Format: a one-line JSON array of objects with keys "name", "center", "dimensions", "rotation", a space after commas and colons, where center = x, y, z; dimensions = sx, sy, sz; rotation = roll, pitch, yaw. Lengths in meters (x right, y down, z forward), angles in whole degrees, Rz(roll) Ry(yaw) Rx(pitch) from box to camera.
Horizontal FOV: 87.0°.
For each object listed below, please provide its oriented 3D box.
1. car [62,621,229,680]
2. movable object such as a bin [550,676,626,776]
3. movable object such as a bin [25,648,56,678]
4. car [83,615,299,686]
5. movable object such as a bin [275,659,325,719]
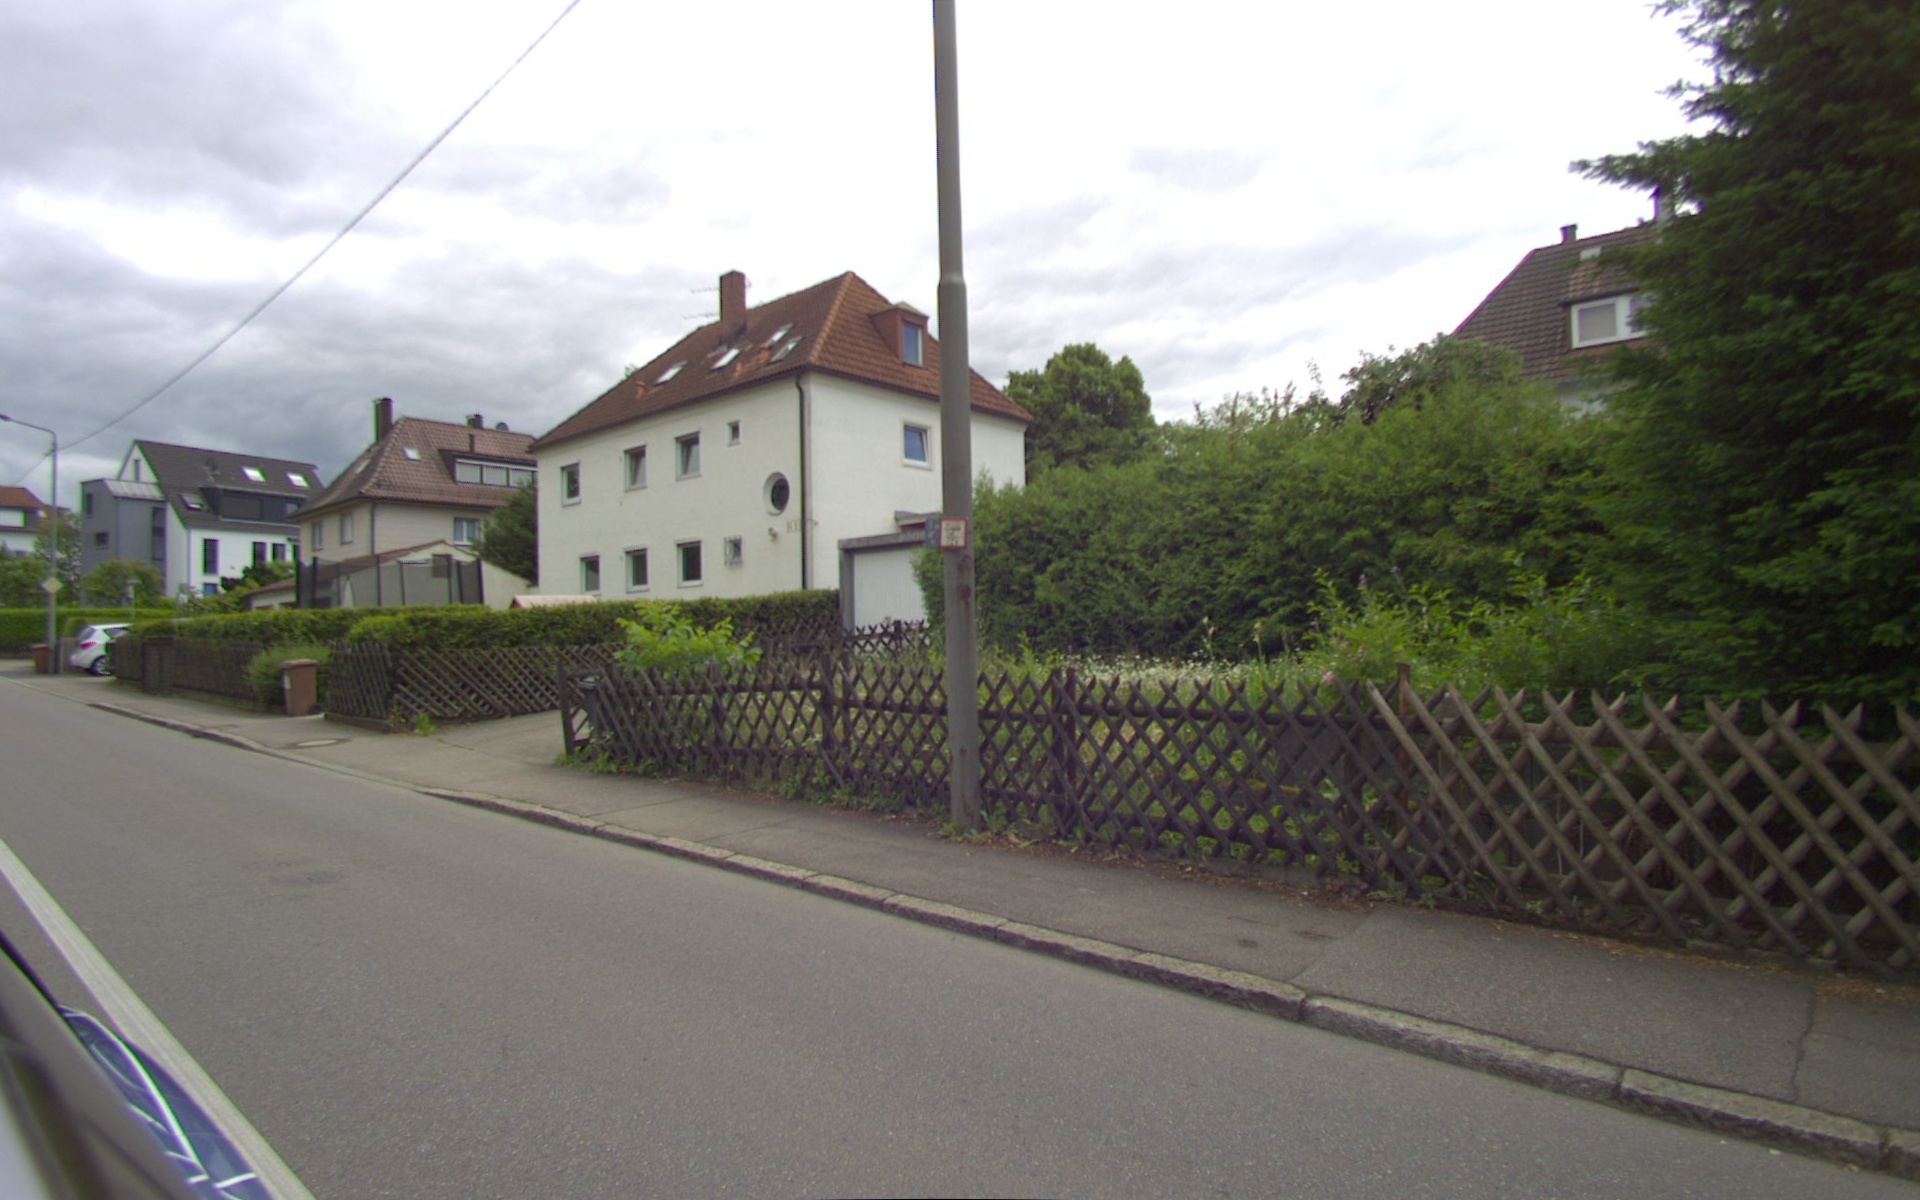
[{"name": "car", "center": [-26.220, 1.564, 32.679], "dimensions": [1.717, 1.606, 3.946], "rotation": [-2, 1, 41]}, {"name": "movable object such as a bin", "center": [-3.808, 1.272, 10.355], "dimensions": [0.537, 0.945, 0.544], "rotation": [-2, -2, 43]}, {"name": "movable object such as a bin", "center": [-29.919, 2.046, 32.925], "dimensions": [0.679, 0.961, 0.573], "rotation": [1, -2, -37]}, {"name": "car", "center": [-22.072, 1.386, 29.207], "dimensions": [1.881, 1.682, 4.624], "rotation": [-2, 1, 39]}, {"name": "movable object such as a bin", "center": [-10.877, 1.457, 16.671], "dimensions": [0.625, 0.920, 0.561], "rotation": [-1, -1, -39]}]
